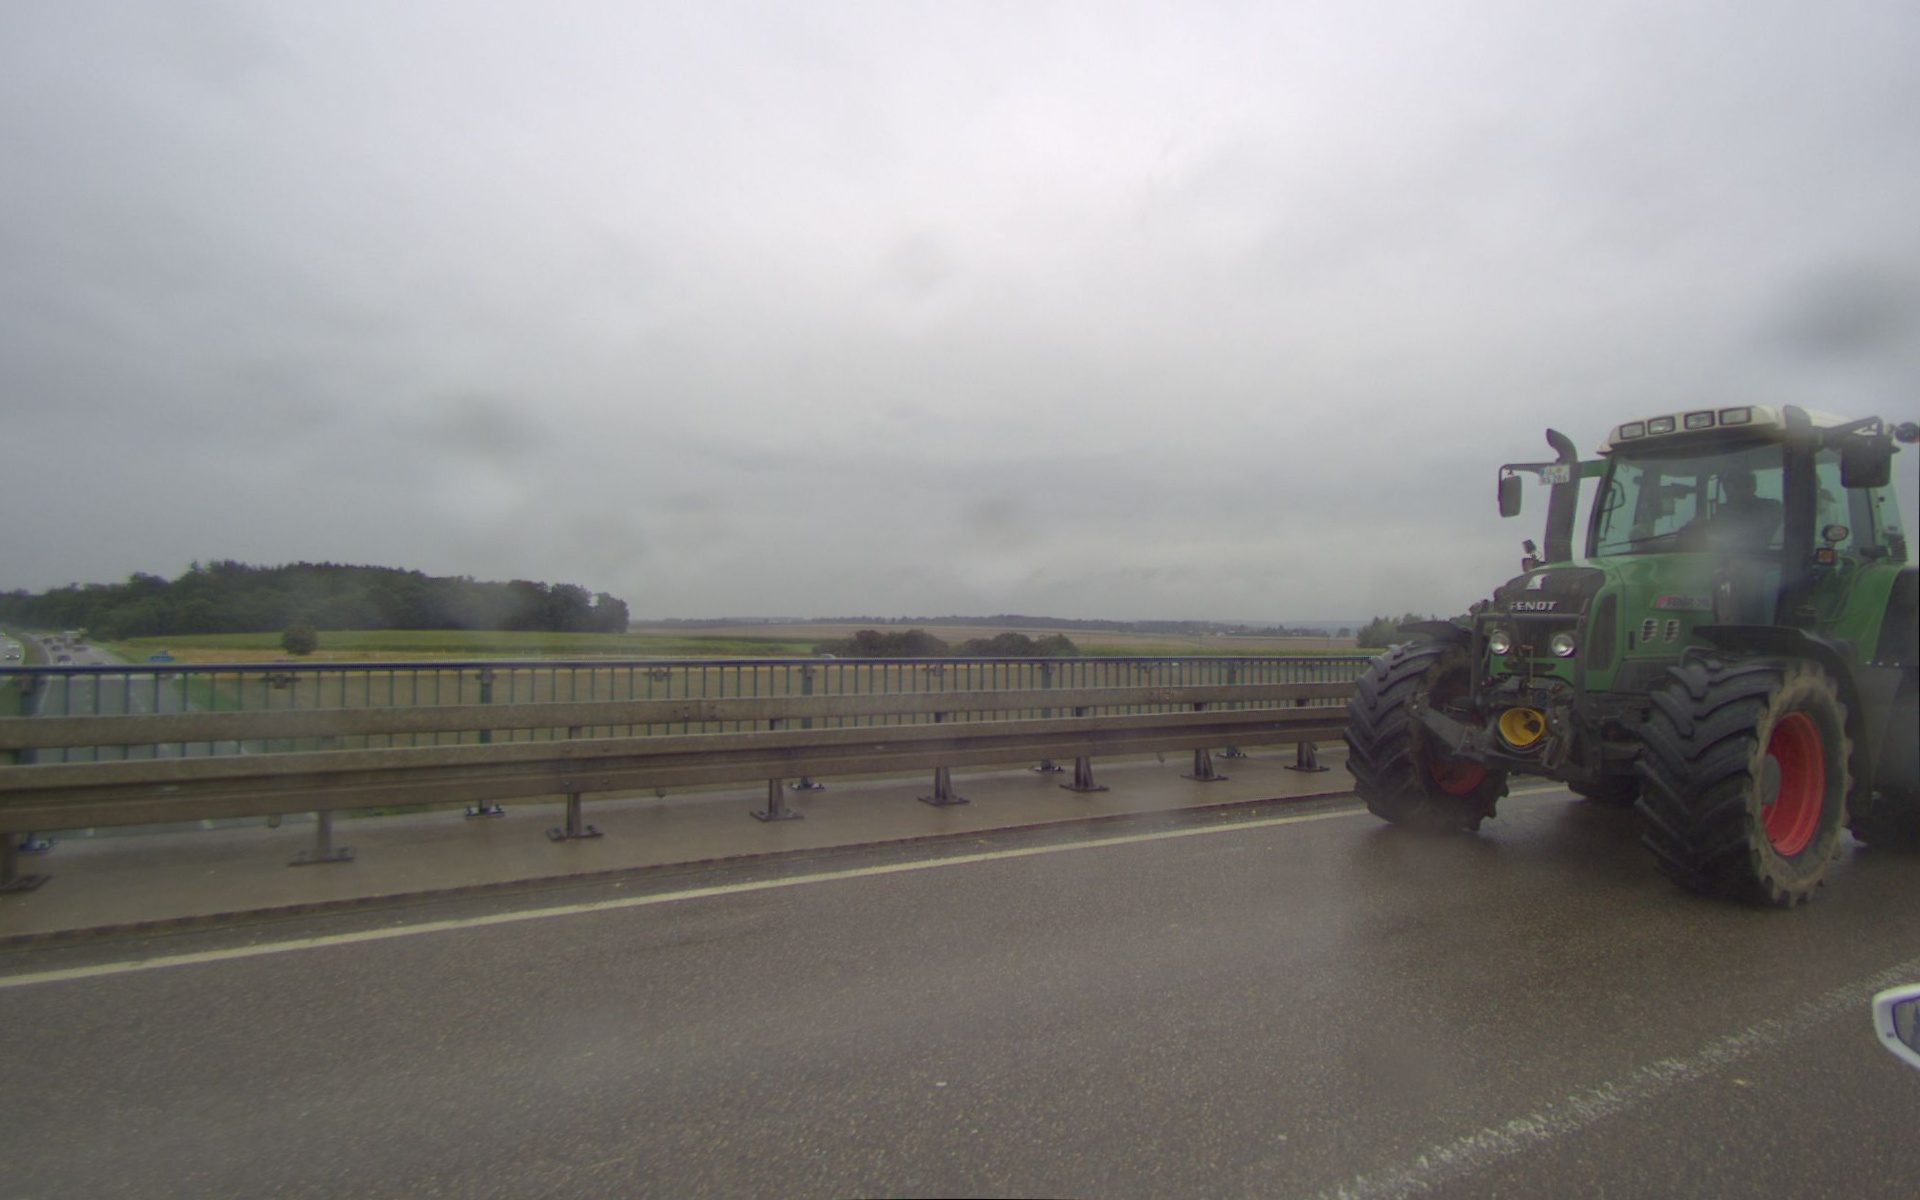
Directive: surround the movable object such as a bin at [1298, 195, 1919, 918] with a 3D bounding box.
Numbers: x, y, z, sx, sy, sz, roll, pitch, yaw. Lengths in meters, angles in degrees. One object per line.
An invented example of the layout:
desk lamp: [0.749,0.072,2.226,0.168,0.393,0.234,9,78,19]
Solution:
movable object such as a bin: [5.090,-0.166,7.167,4.586,3.491,2.737,1,-1,-29]
